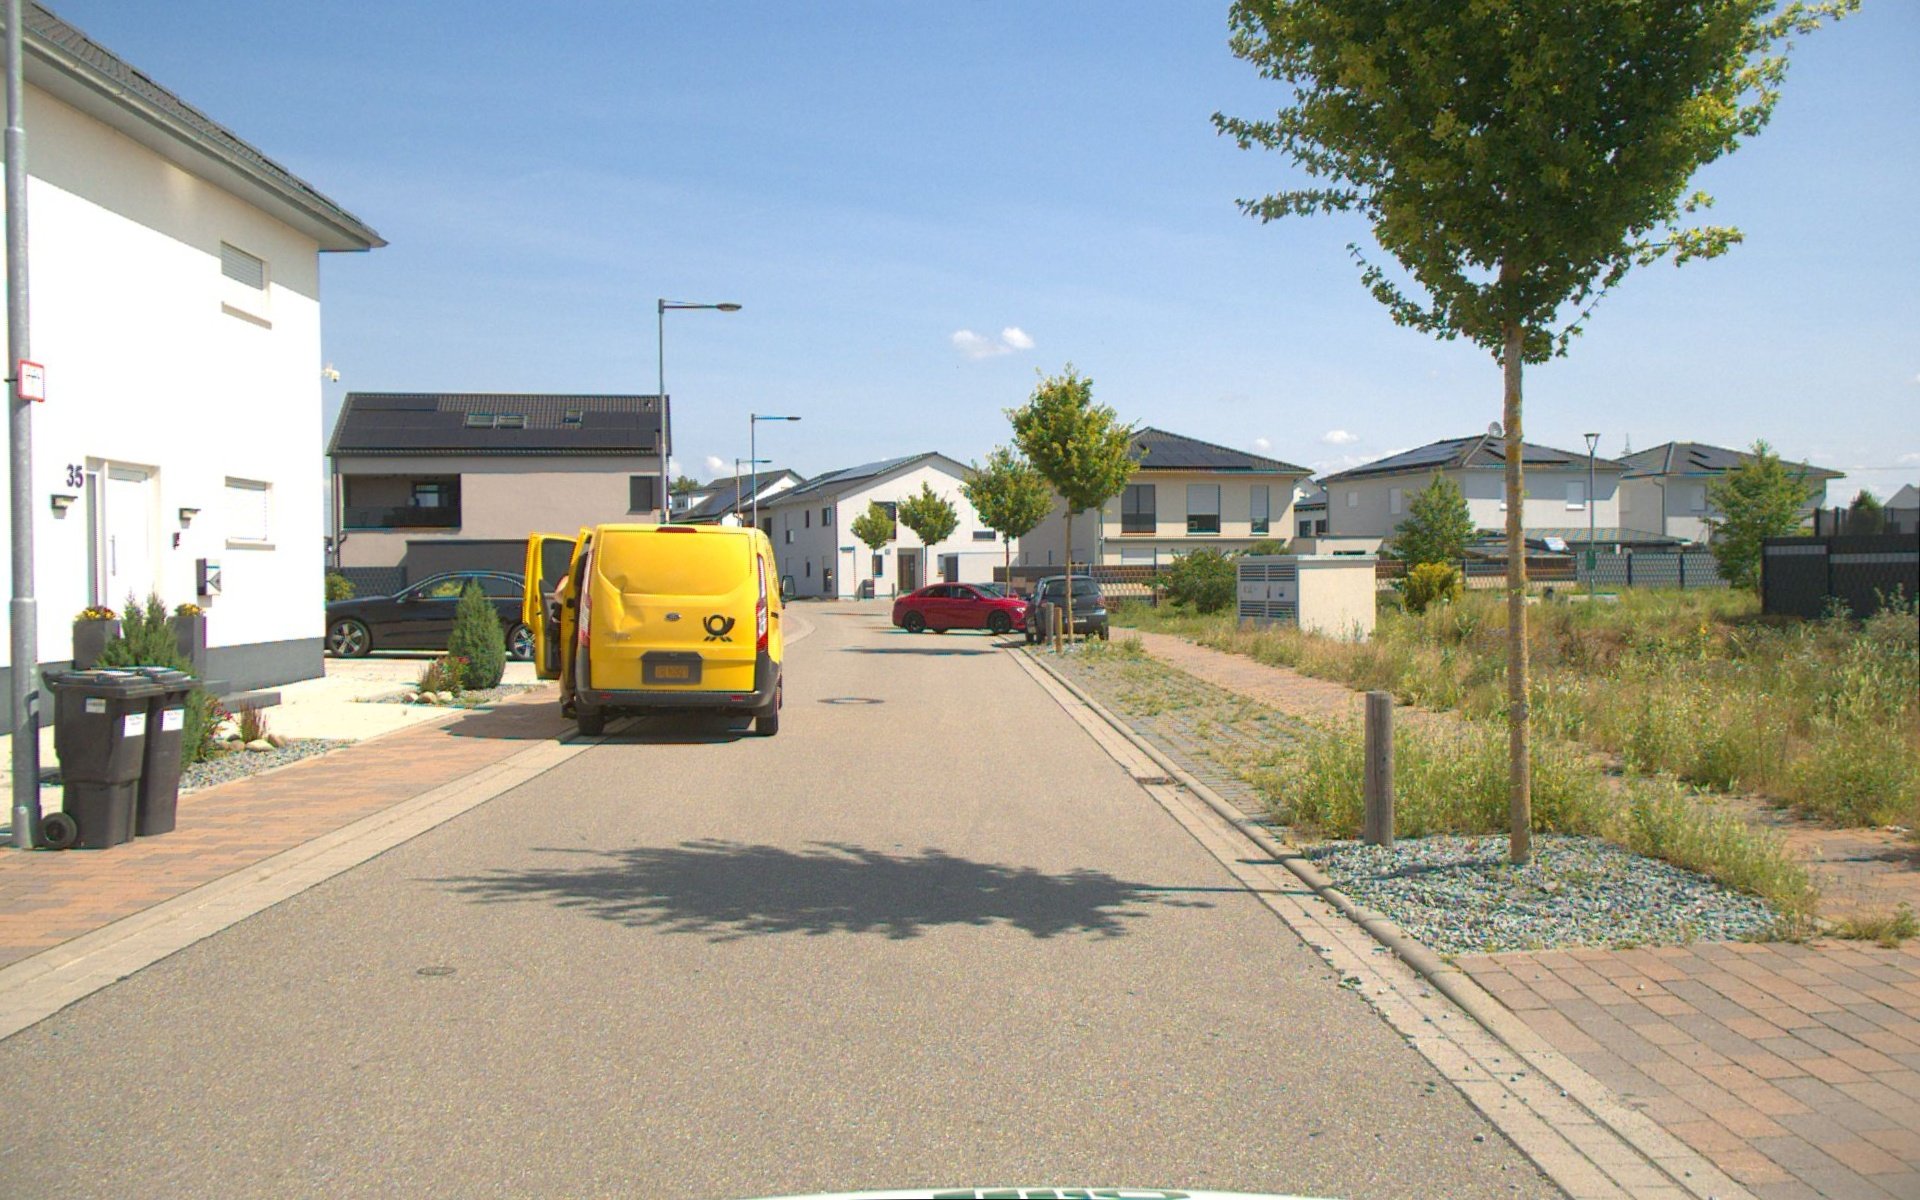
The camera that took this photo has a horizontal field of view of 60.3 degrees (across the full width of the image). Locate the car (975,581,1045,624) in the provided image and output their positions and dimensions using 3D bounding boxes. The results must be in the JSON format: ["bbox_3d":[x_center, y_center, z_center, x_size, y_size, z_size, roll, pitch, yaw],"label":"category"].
[{"bbox_3d":[1.657,0.043,56.413,1.721,1.387,4.569,0,1,-7],"label":"car"}]

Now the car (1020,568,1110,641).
[{"bbox_3d":[2.330,0.069,37.427,1.566,1.500,3.673,-3,1,-3],"label":"car"}]

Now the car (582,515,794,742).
[{"bbox_3d":[-2.720,0.247,17.515,1.847,2.049,4.836,1,0,-6],"label":"car"}]

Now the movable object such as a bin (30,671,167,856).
[{"bbox_3d":[-4.691,0.876,9.033,0.476,0.941,0.530,-1,0,-4],"label":"movable object such as a bin"}]

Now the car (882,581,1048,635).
[{"bbox_3d":[0.135,0.187,46.818,4.417,1.463,1.766,1,1,27],"label":"car"}]

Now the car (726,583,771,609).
[{"bbox_3d":[-12.548,-0.230,98.020,1.702,1.447,3.975,-2,1,-21],"label":"car"}]

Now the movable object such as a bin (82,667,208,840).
[{"bbox_3d":[-4.716,0.876,9.594,0.476,0.941,0.530,-1,0,-4],"label":"movable object such as a bin"}]

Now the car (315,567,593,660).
[{"bbox_3d":[-8.389,0.209,27.731,4.319,1.477,1.742,0,1,-15],"label":"car"}]

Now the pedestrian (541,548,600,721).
[{"bbox_3d":[-4.051,0.352,17.227,0.521,1.768,0.569,1,1,-8],"label":"pedestrian"}]
